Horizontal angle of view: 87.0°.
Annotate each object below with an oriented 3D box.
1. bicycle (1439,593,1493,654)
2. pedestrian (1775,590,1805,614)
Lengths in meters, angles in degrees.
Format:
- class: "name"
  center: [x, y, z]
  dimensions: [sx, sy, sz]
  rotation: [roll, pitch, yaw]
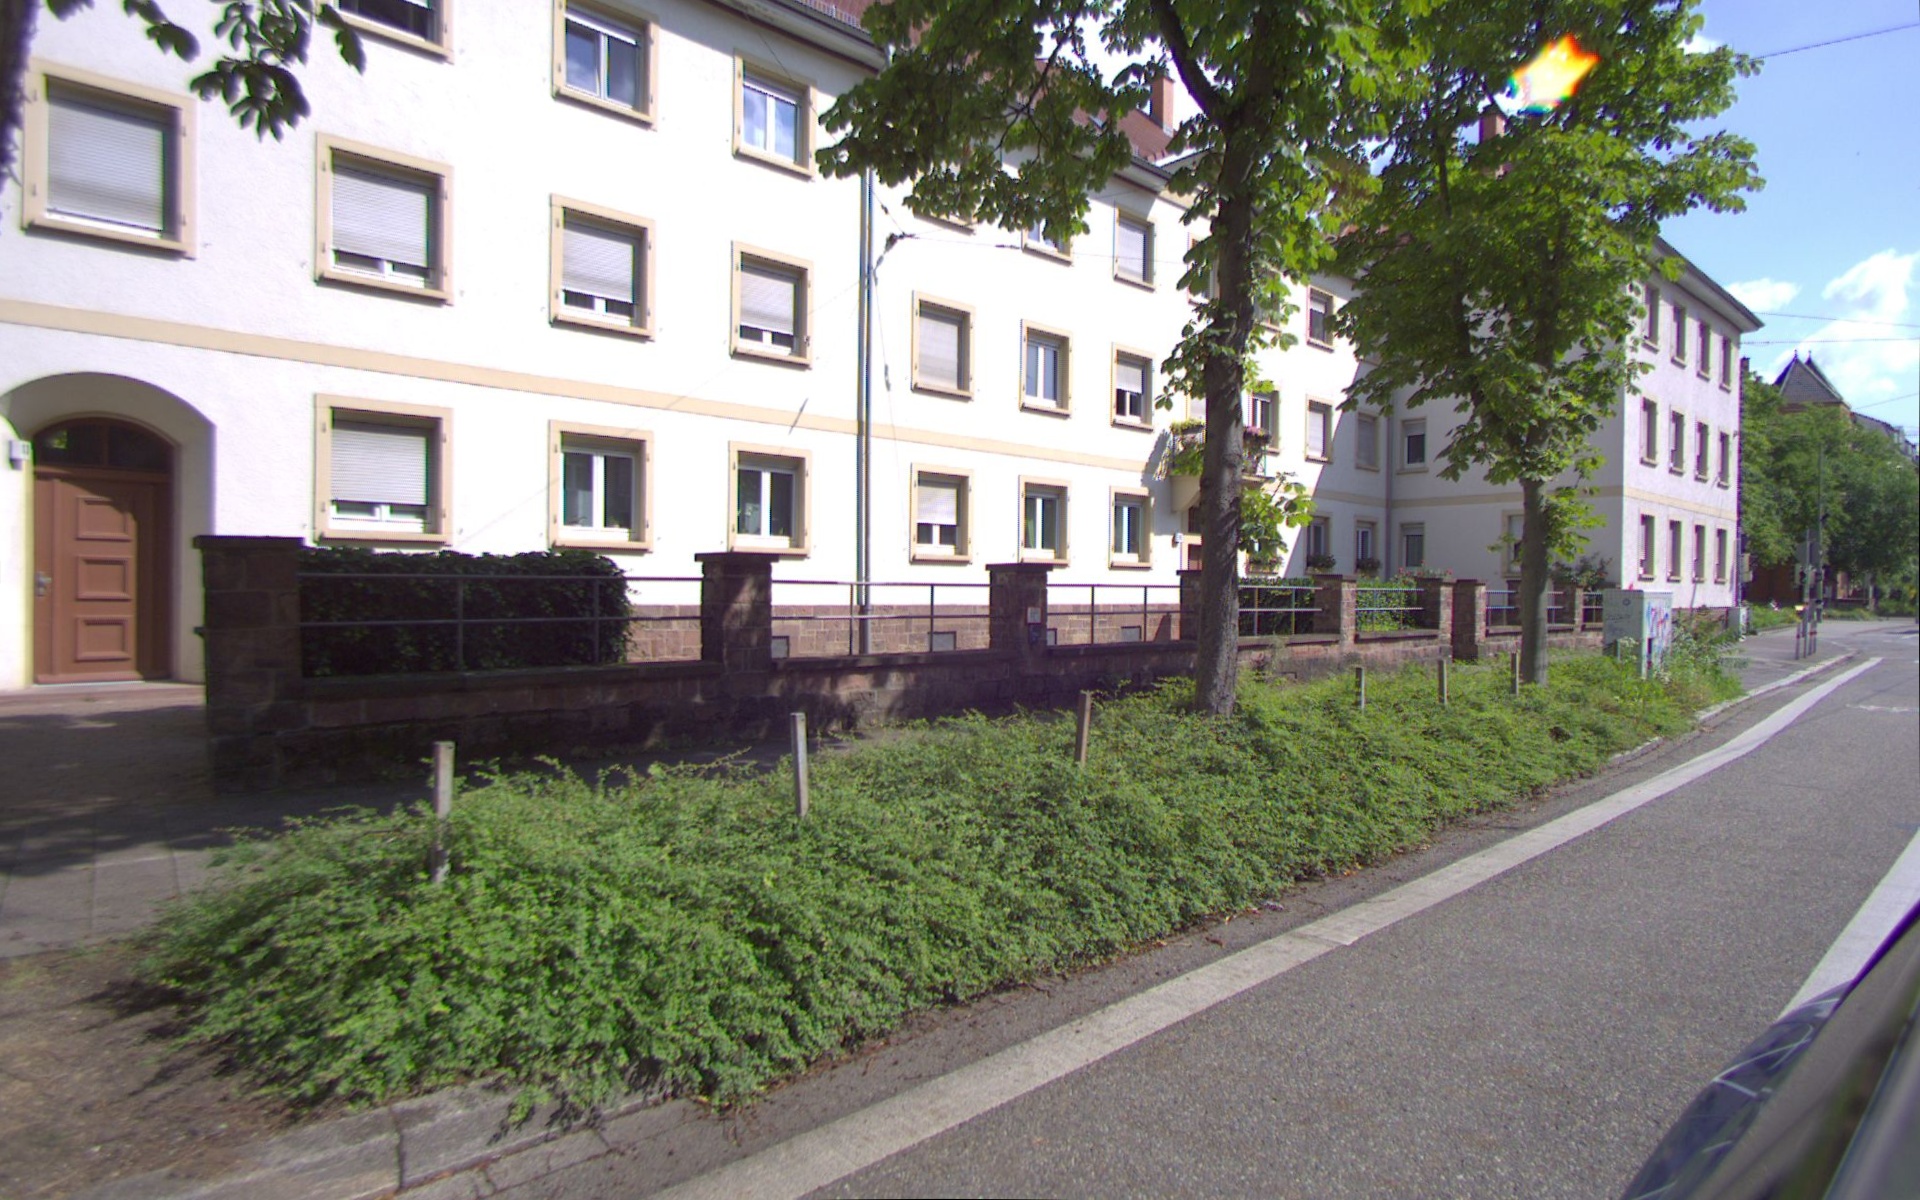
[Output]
- class: "bicycle"
  center: [10.343, 0.464, 20.675]
  dimensions: [1.465, 1.216, 0.505]
  rotation: [0, 0, -43]
- class: "pedestrian"
  center: [44.776, 0.119, 54.580]
  dimensions: [1.156, 1.217, 0.893]
  rotation: [5, 3, 42]
